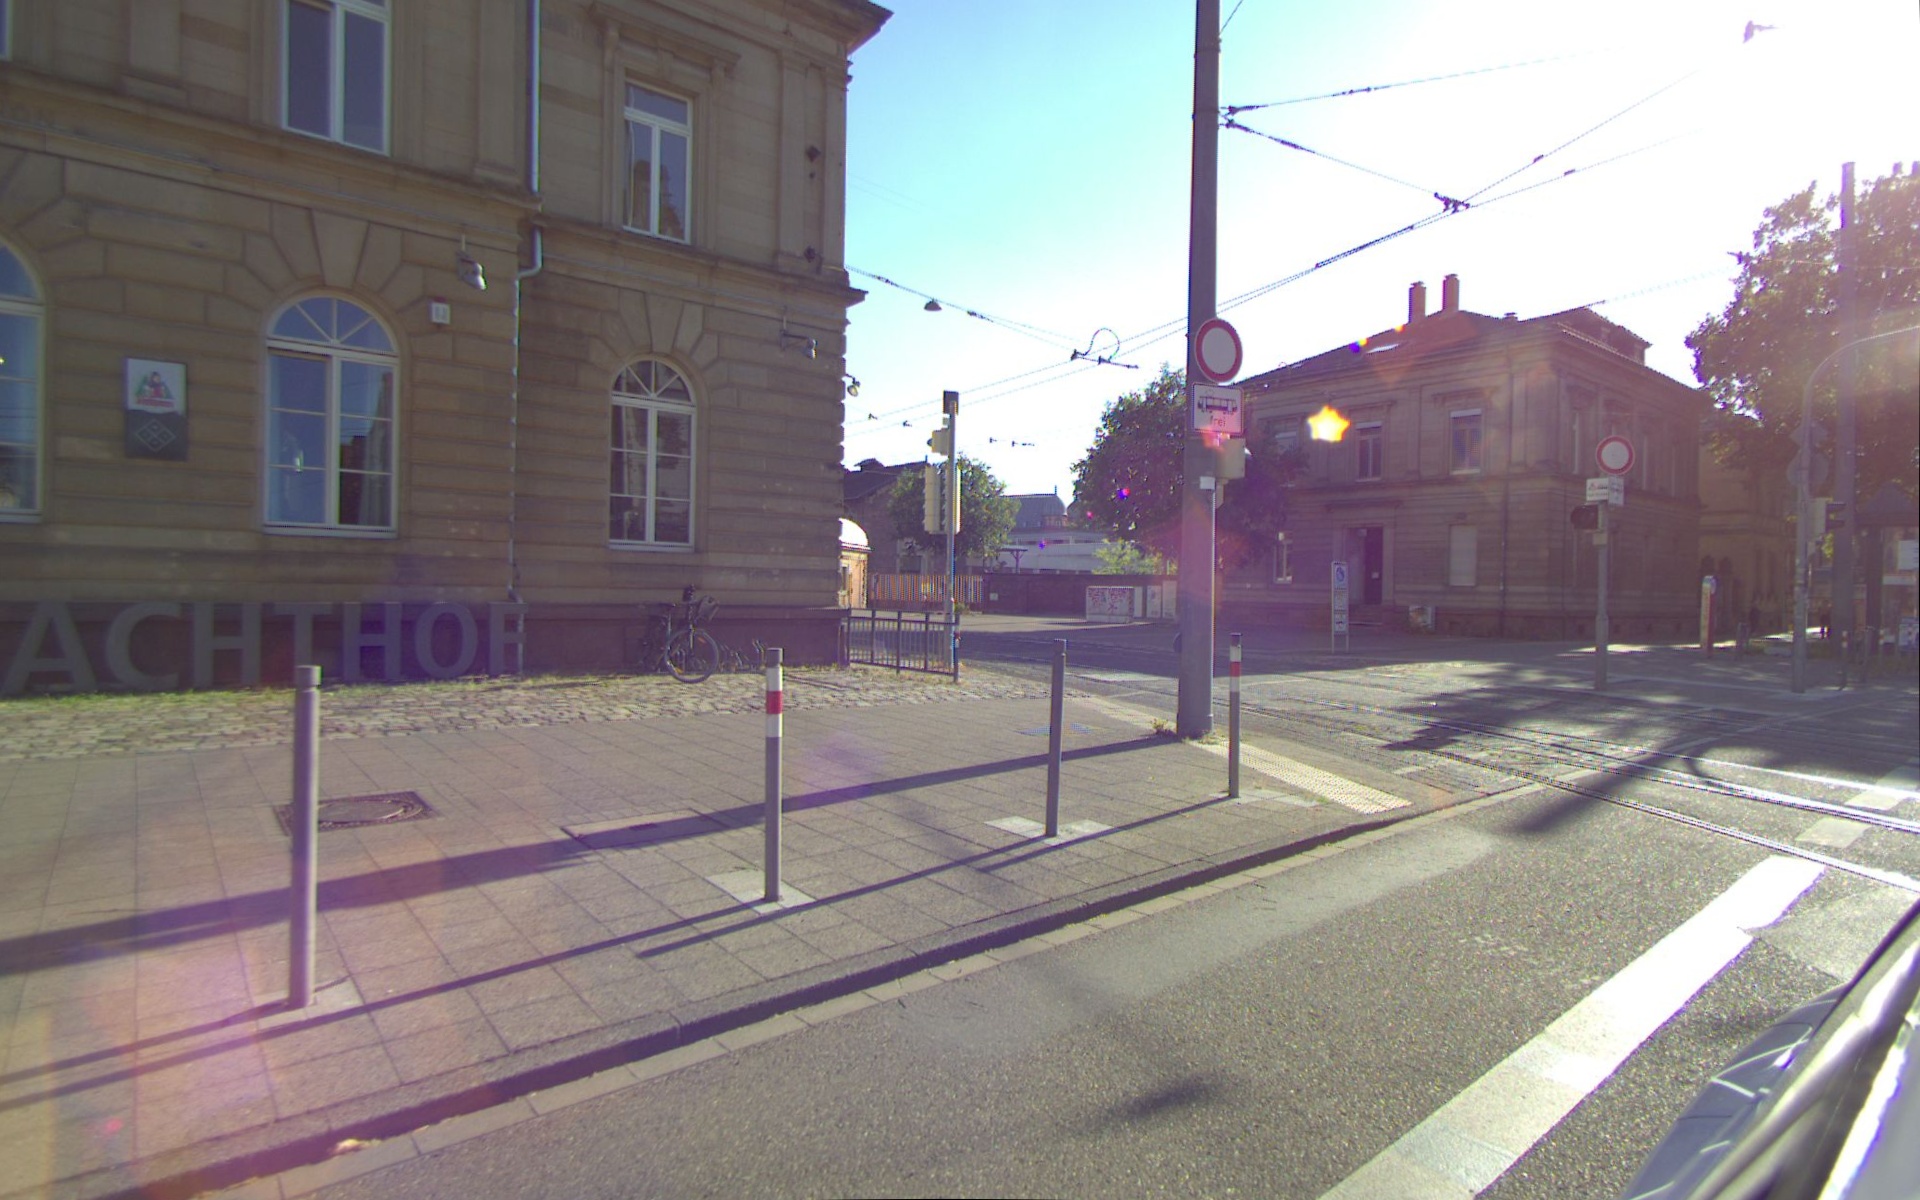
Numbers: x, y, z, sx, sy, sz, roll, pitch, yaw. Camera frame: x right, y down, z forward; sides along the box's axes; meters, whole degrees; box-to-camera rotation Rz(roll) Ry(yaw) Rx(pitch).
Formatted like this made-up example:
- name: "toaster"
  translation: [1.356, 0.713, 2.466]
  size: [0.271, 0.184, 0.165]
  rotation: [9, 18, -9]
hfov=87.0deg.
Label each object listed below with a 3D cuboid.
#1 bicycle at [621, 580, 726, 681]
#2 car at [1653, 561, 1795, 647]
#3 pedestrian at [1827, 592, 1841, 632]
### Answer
- name: "bicycle"
  translation: [-3.745, 0.354, 13.166]
  size: [0.678, 1.195, 1.649]
  rotation: [0, 2, -40]
- name: "car"
  translation: [19.702, 0.074, 26.065]
  size: [3.924, 2.072, 1.835]
  rotation: [-1, 0, -35]
- name: "pedestrian"
  translation: [36.567, 0.508, 42.336]
  size: [0.382, 1.665, 0.364]
  rotation: [1, 0, -38]
